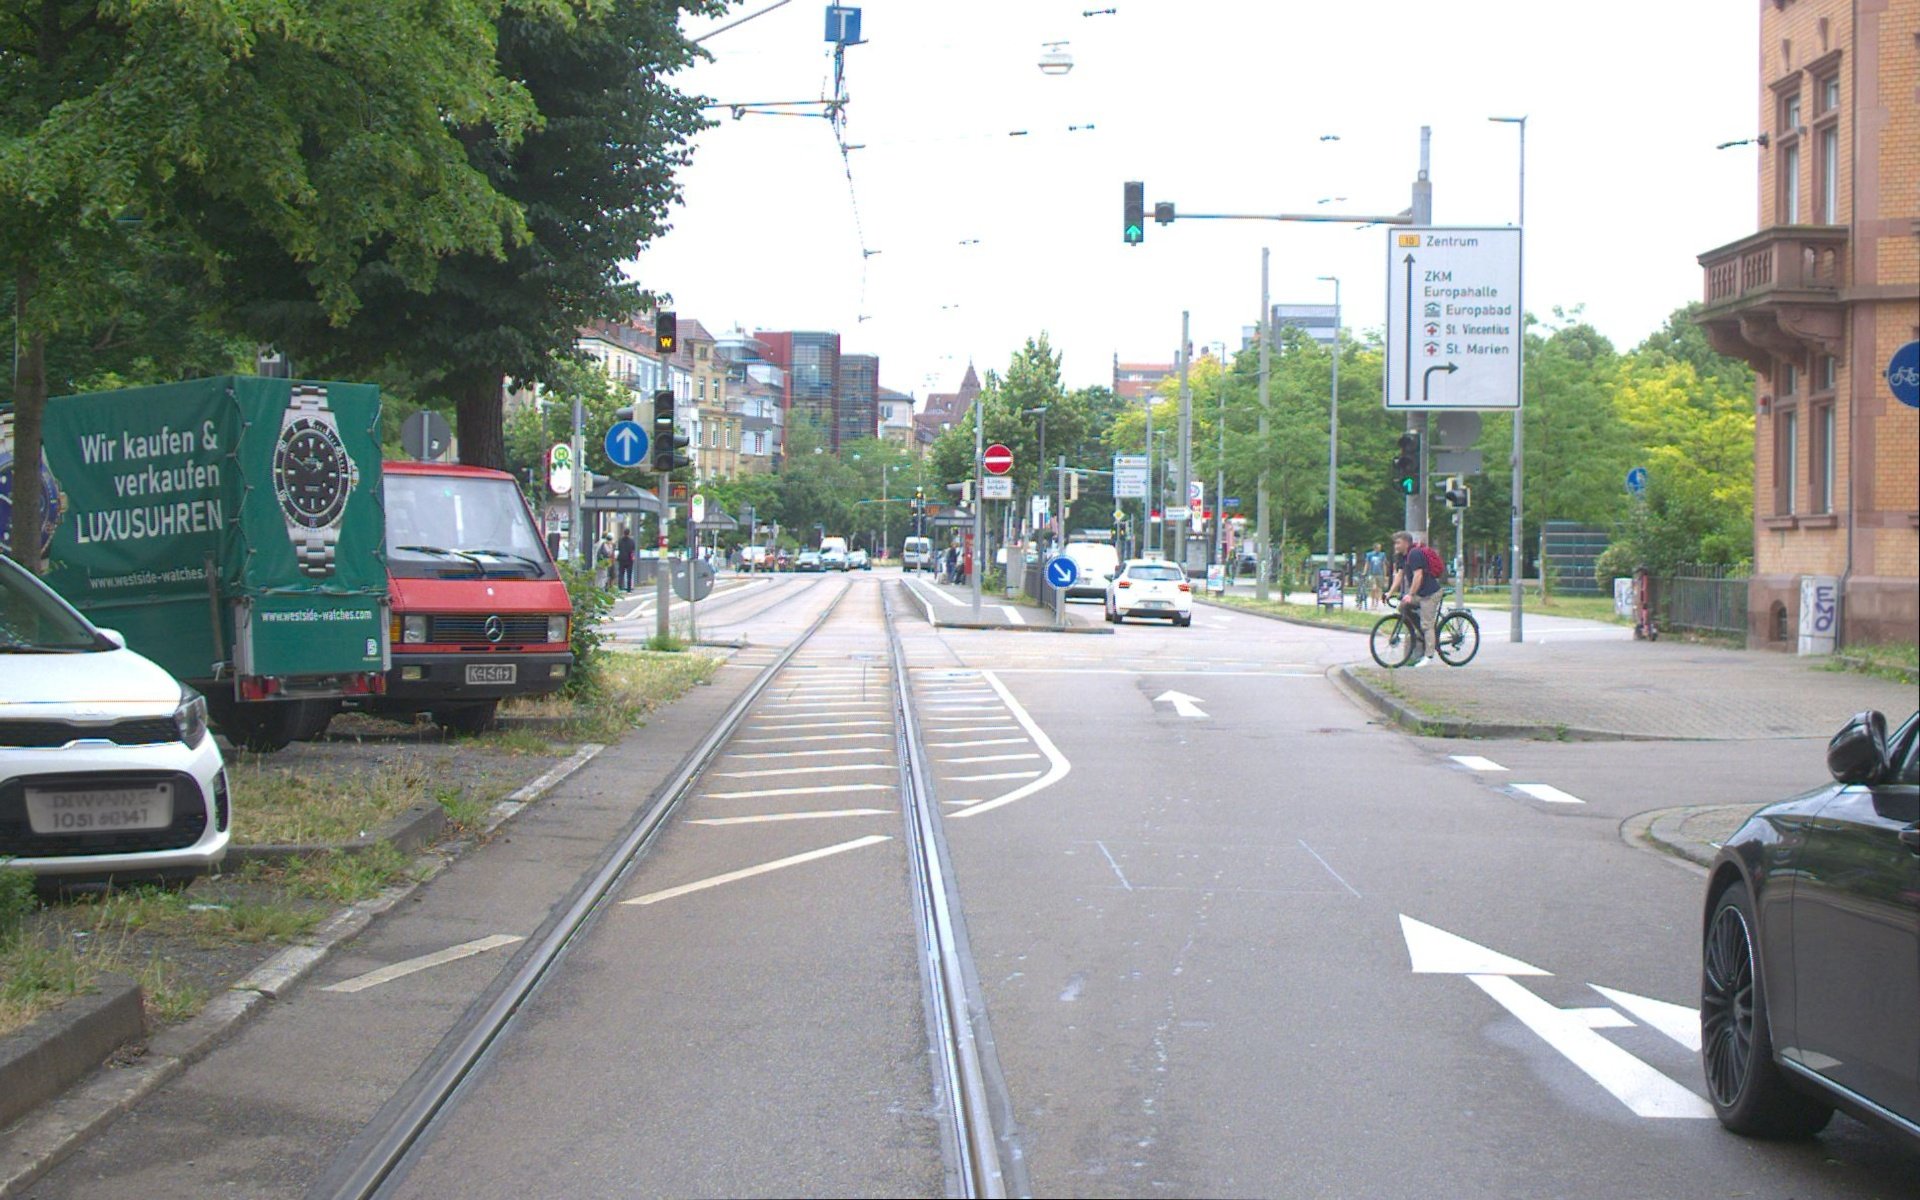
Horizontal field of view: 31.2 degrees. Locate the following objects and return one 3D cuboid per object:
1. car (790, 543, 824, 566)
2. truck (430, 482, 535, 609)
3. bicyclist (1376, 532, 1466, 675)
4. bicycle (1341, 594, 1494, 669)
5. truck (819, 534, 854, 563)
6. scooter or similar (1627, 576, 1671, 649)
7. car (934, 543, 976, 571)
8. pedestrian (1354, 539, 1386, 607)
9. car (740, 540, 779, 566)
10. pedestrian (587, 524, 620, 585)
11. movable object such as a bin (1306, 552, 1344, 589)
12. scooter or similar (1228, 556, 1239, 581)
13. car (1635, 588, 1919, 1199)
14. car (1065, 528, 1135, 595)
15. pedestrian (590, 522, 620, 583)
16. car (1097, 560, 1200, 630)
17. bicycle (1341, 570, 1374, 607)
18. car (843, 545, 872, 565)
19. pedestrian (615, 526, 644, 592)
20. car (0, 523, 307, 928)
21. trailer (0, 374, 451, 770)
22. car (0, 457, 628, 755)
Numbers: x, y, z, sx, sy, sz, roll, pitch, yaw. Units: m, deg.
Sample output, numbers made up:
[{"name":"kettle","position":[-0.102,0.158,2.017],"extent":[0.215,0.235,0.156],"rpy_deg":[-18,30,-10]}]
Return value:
[{"name":"car","position":[-10.224,-3.024,230.001],"extent":[1.770,1.488,3.886],"rpy_deg":[1,0,5]},{"name":"truck","position":[-12.382,-1.392,89.568],"extent":[2.184,3.146,7.333],"rpy_deg":[1,0,-4]},{"name":"bicyclist","position":[5.884,0.038,43.904],"extent":[0.679,1.789,0.891],"rpy_deg":[1,1,-32]},{"name":"bicycle","position":[5.876,0.408,44.134],"extent":[1.862,0.921,0.796],"rpy_deg":[1,1,-33]},{"name":"truck","position":[-8.728,-3.638,243.220],"extent":[1.788,2.026,5.395],"rpy_deg":[1,0,5]},{"name":"scooter or similar","position":[10.906,0.188,54.452],"extent":[0.376,1.137,1.200],"rpy_deg":[0,1,-4]},{"name":"car","position":[-0.265,-2.344,188.151],"extent":[1.770,1.488,3.886],"rpy_deg":[1,0,7]},{"name":"pedestrian","position":[11.329,-0.739,94.967],"extent":[0.739,1.863,0.682],"rpy_deg":[0,1,-3]},{"name":"car","position":[-12.067,-2.801,206.665],"extent":[1.770,1.488,3.886],"rpy_deg":[1,0,5]},{"name":"pedestrian","position":[-9.432,-1.199,90.942],"extent":[0.678,1.618,0.633],"rpy_deg":[1,1,17]},{"name":"movable object such as a bin","position":[13.749,-1.122,129.633],"extent":[1.282,1.385,1.159],"rpy_deg":[1,0,0]},{"name":"scooter or similar","position":[12.383,-1.424,155.840],"extent":[0.376,1.137,1.199],"rpy_deg":[1,1,10]},{"name":"car","position":[2.898,0.754,7.468],"extent":[1.824,1.445,5.007],"rpy_deg":[2,1,0]},{"name":"car","position":[4.215,-1.174,104.190],"extent":[1.782,1.956,4.383],"rpy_deg":[1,1,-2]},{"name":"pedestrian","position":[-9.725,-1.288,94.093],"extent":[0.768,1.654,1.025],"rpy_deg":[0,1,-4]},{"name":"car","position":[4.164,-0.127,76.422],"extent":[1.782,1.467,4.011],"rpy_deg":[1,1,-4]},{"name":"bicycle","position":[10.994,-0.324,95.096],"extent":[0.654,0.999,1.779],"rpy_deg":[1,1,-1]},{"name":"car","position":[-7.765,-3.400,261.196],"extent":[1.770,1.488,3.886],"rpy_deg":[1,0,5]},{"name":"pedestrian","position":[-8.702,-1.076,90.420],"extent":[0.699,1.709,0.699],"rpy_deg":[0,1,-9]},{"name":"car","position":[-4.563,0.409,14.050],"extent":[3.860,1.458,1.685],"rpy_deg":[2,1,41]},{"name":"trailer","position":[-5.319,-0.209,22.064],"extent":[3.666,2.336,1.927],"rpy_deg":[1,1,32]},{"name":"car","position":[-4.828,-0.011,24.879],"extent":[4.763,1.967,1.955],"rpy_deg":[1,1,37]}]
